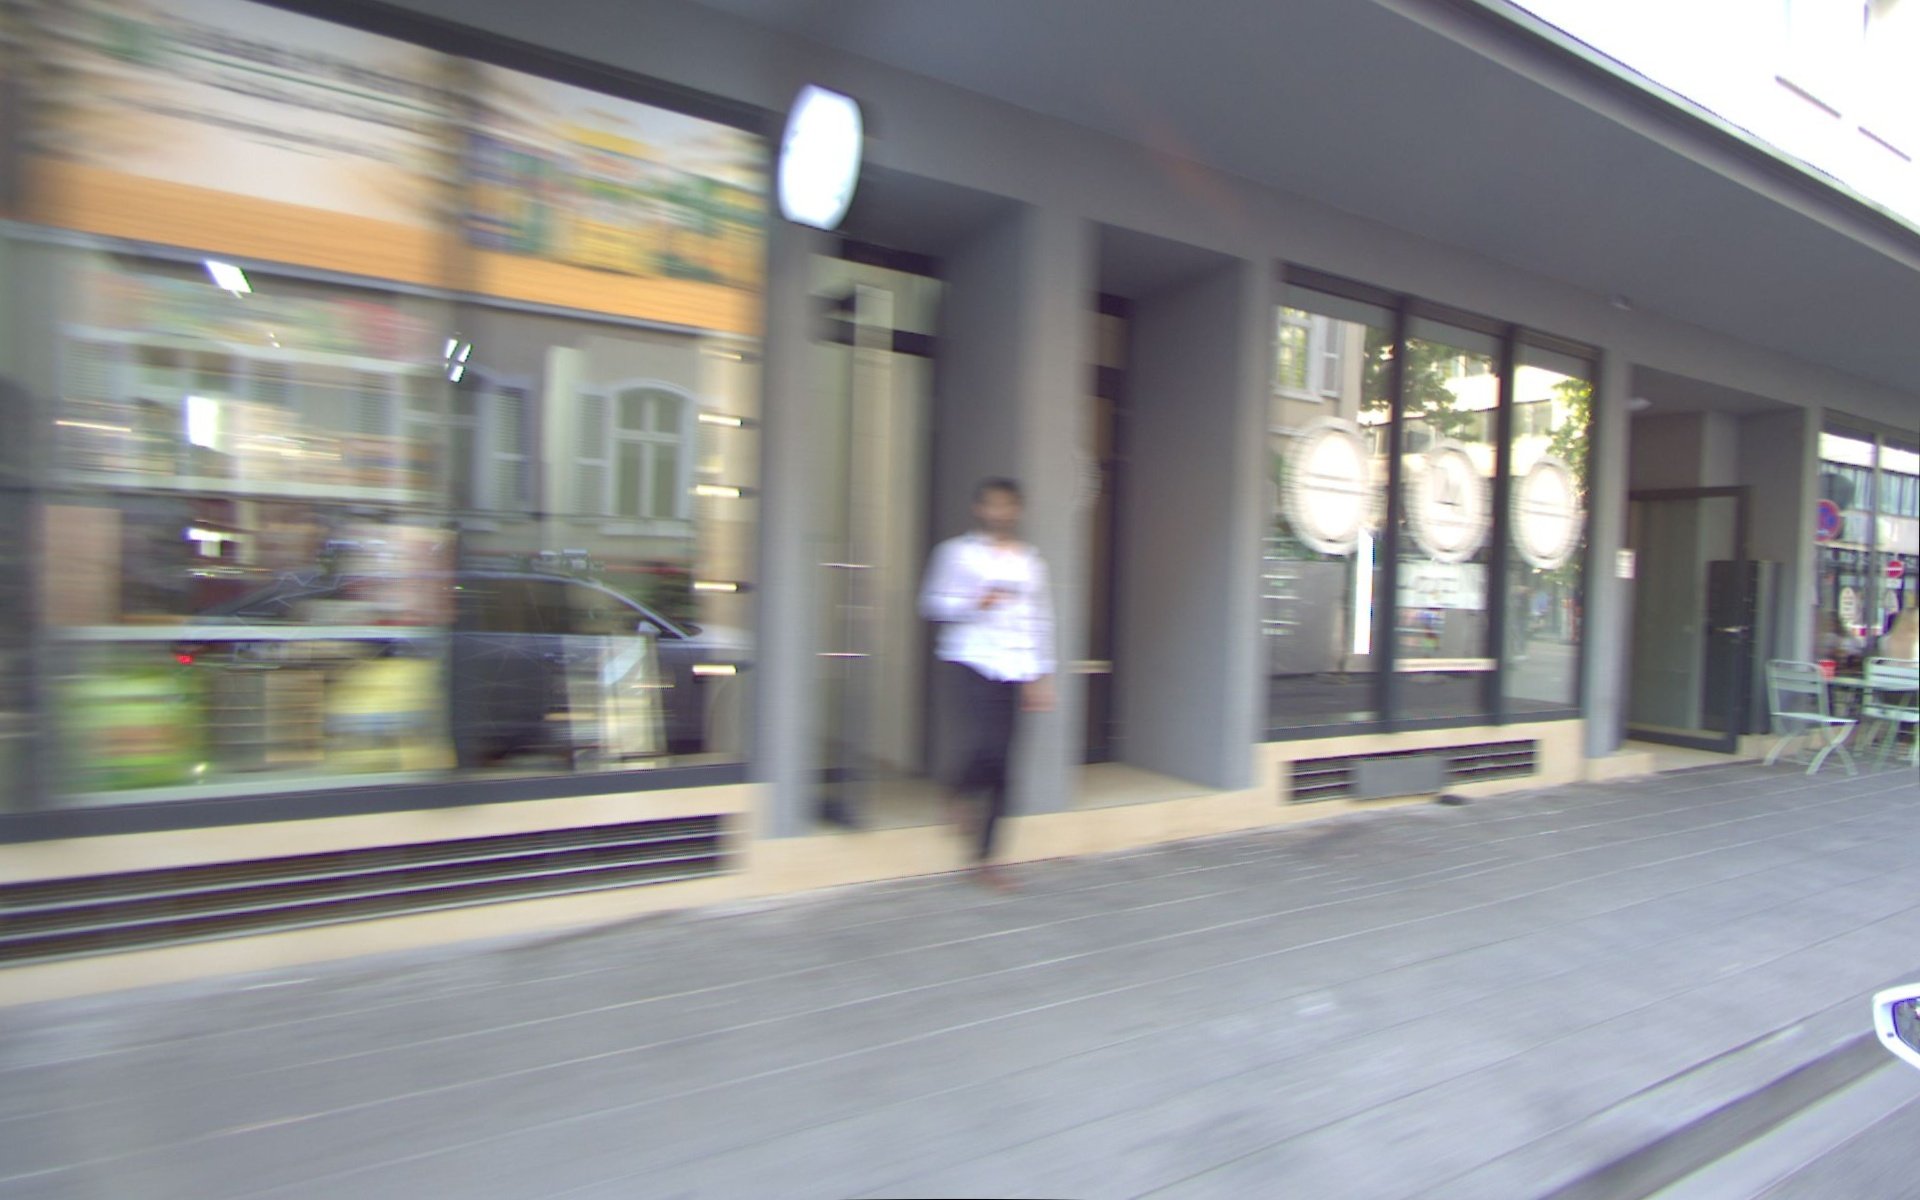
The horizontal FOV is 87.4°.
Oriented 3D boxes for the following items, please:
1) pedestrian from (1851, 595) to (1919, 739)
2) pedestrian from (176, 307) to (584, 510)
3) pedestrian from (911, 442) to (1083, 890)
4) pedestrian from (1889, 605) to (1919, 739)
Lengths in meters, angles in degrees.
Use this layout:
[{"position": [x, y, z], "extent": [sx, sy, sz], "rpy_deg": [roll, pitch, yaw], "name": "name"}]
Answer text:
[{"position": [8.997, 0.619, 9.520], "extent": [0.705, 1.293, 0.570], "rpy_deg": [0, 3, -30], "name": "pedestrian"}, {"position": [-6.970, -2.224, 12.331], "extent": [3.919, 2.040, 2.001], "rpy_deg": [1, 0, 8], "name": "pedestrian"}, {"position": [0.163, 0.275, 4.540], "extent": [0.557, 1.859, 0.526], "rpy_deg": [0, 1, -36], "name": "pedestrian"}, {"position": [9.748, 0.717, 9.944], "extent": [0.705, 1.293, 0.570], "rpy_deg": [0, 3, -30], "name": "pedestrian"}]
